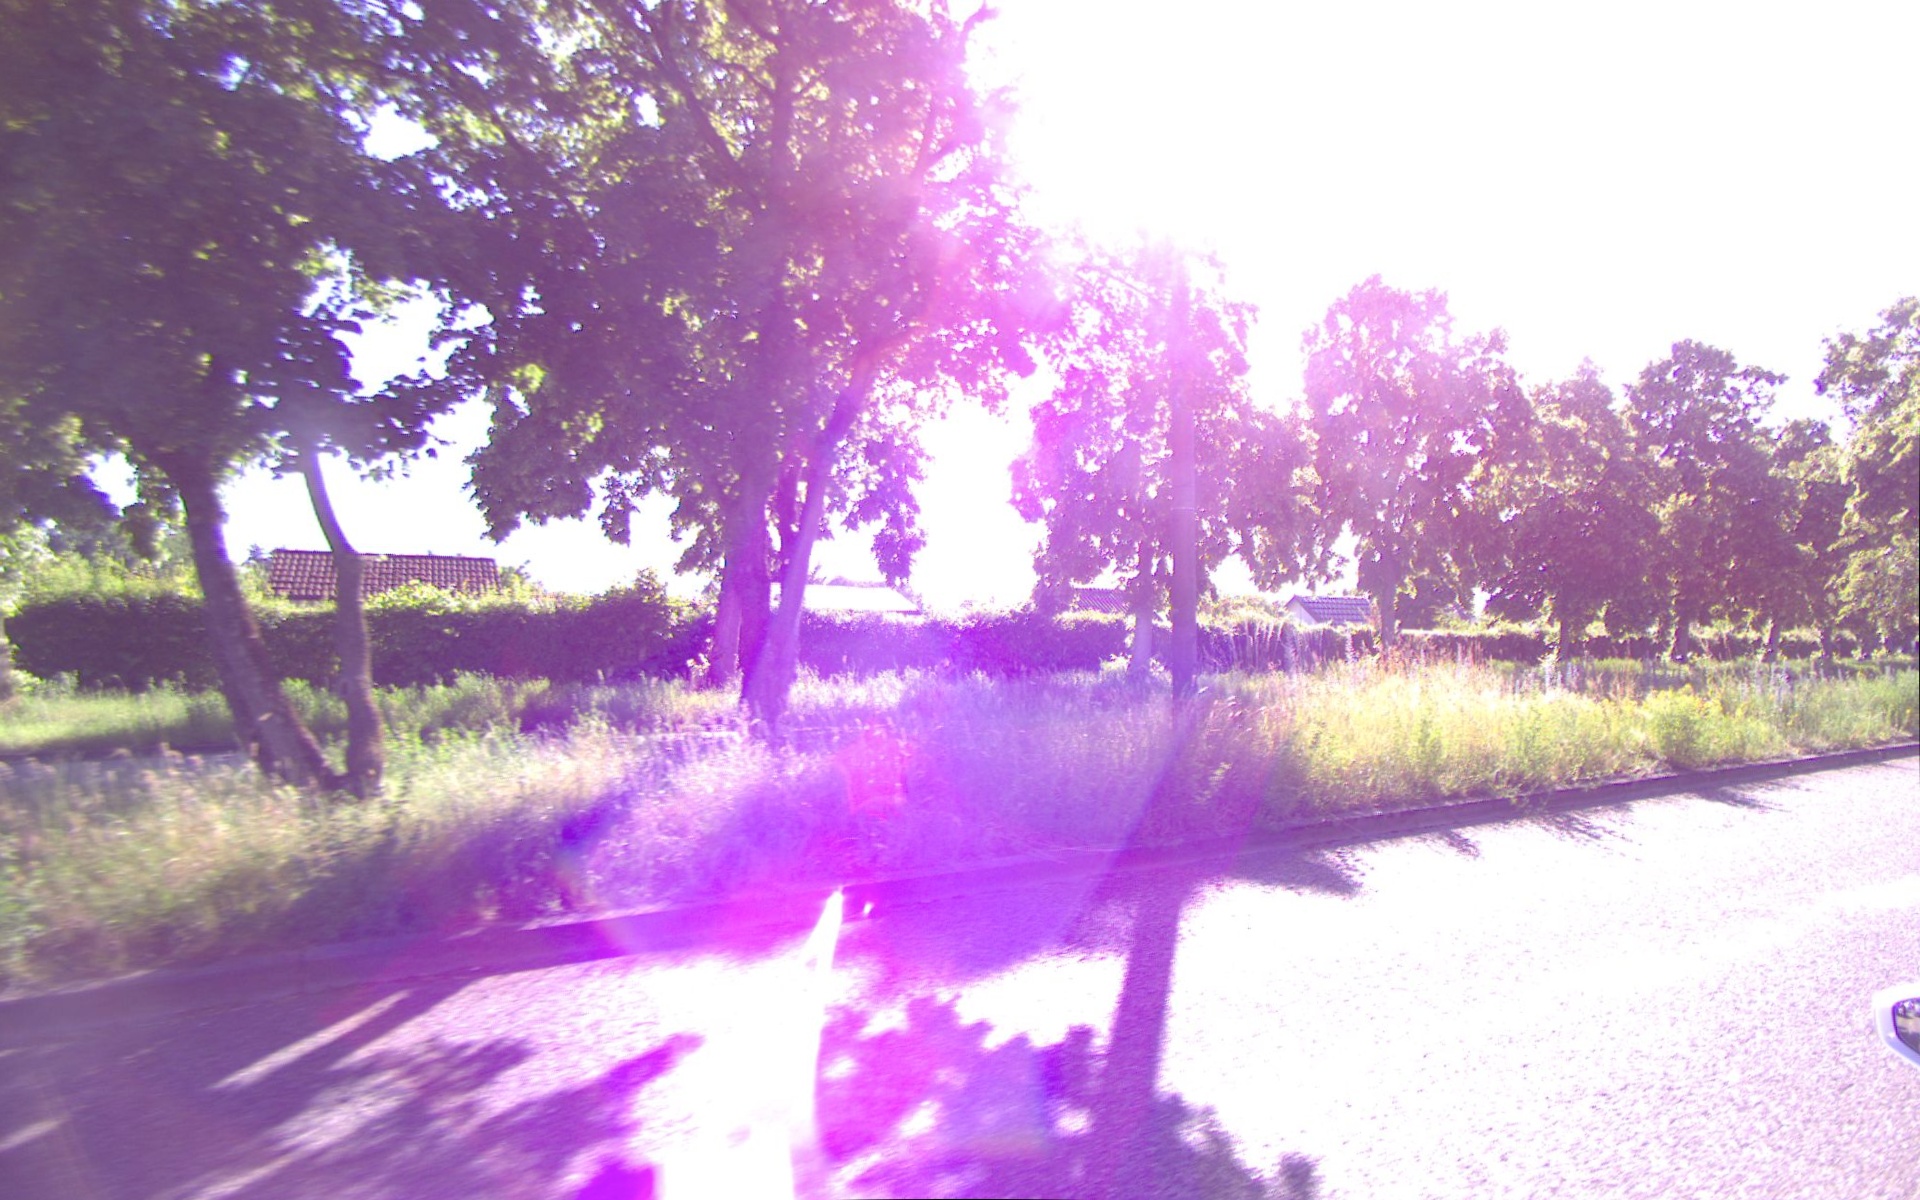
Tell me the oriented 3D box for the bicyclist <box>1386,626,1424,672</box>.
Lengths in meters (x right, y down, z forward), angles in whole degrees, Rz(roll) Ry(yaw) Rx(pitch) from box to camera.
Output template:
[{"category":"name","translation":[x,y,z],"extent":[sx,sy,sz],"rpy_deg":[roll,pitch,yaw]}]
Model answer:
[{"category":"bicyclist","translation":[14.283,1.563,32.240],"extent":[0.989,1.439,0.686],"rpy_deg":[1,-2,-32]}]

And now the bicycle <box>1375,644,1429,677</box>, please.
[{"category":"bicycle","translation":[14.150,1.915,32.153],"extent":[1.821,1.009,0.686],"rpy_deg":[2,-2,-32]}]
